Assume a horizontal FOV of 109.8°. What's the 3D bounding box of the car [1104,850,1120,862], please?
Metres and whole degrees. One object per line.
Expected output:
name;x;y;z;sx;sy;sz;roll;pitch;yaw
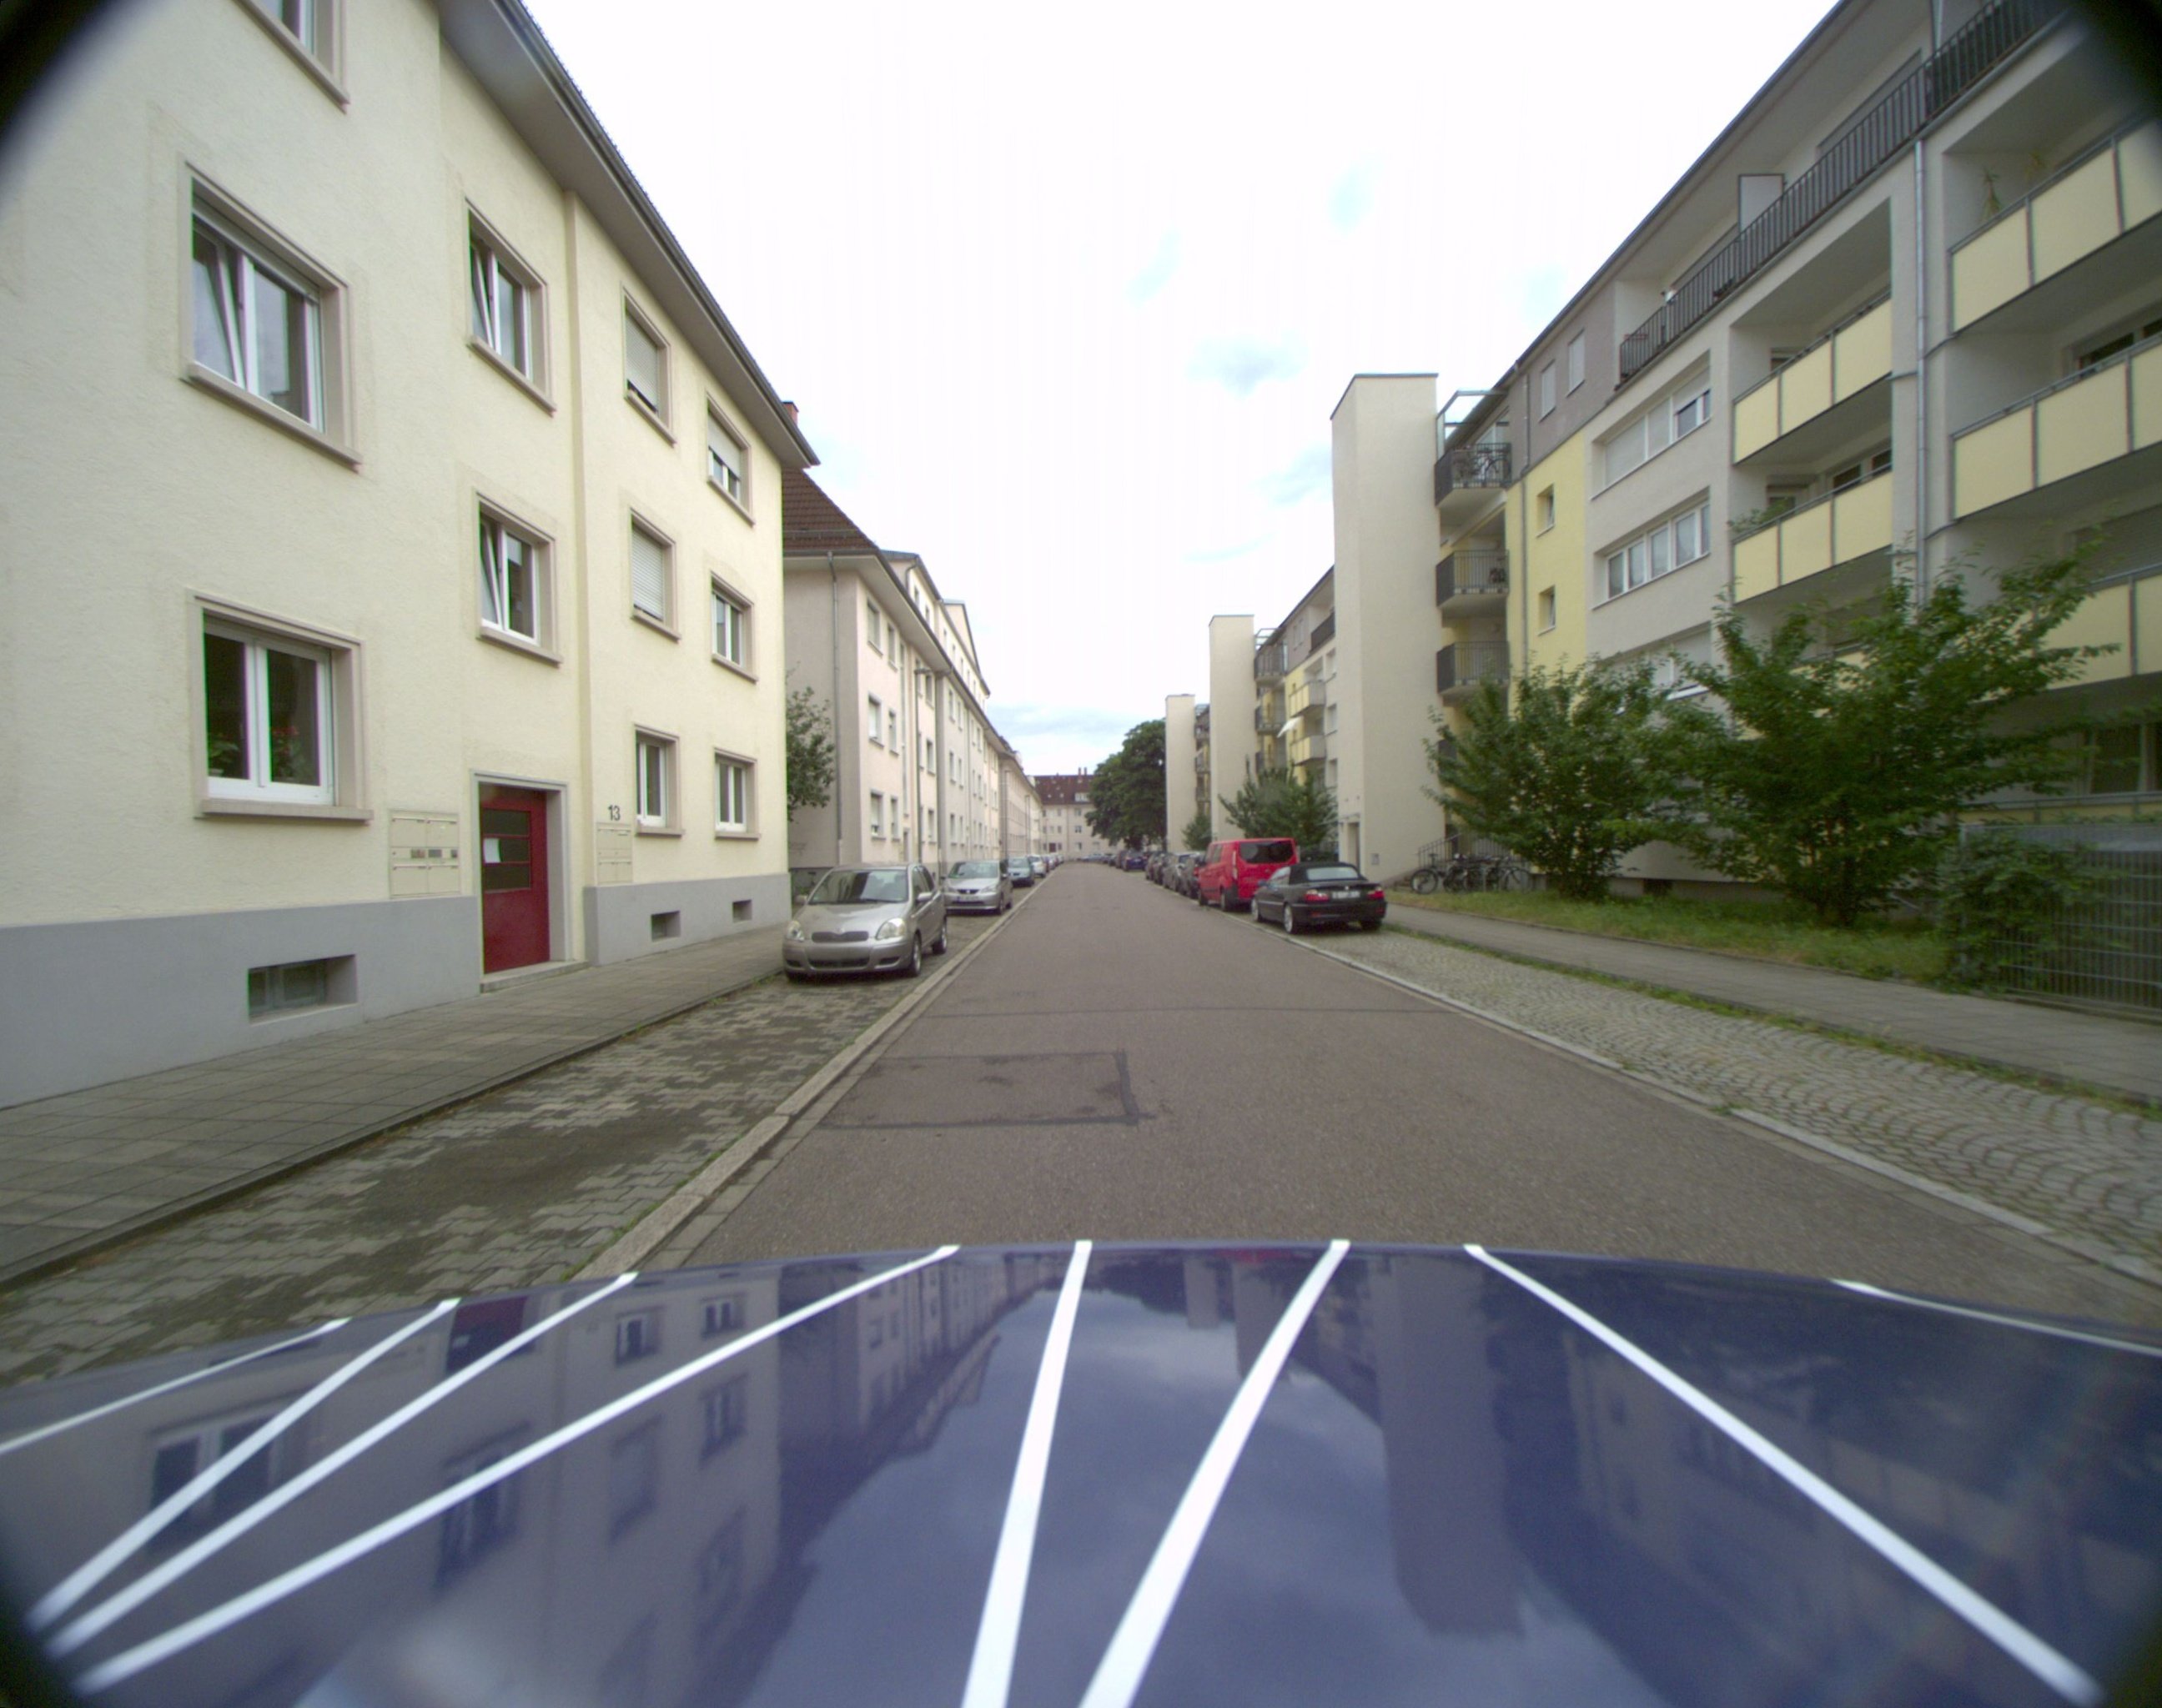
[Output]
car;4.444;0.249;109.284;2.000;1.566;4.209;-3;0;0

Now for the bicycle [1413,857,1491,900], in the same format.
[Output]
bicycle;10.289;0.667;21.106;1.839;1.112;0.604;-2;1;-2

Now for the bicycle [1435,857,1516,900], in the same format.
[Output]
bicycle;10.592;0.646;20.435;1.839;1.112;0.570;-1;1;1

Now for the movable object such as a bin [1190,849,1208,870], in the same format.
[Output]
movable object such as a bin;8.112;0.380;52.424;1.004;1.438;1.314;-2;1;0

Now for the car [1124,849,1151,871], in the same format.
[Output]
car;4.514;0.447;61.674;1.804;1.617;4.471;-2;0;0

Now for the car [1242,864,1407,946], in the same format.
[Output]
car;4.816;0.937;15.749;1.875;1.316;4.360;-2;1;-1

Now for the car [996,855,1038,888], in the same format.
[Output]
car;-3.060;0.791;36.945;1.729;1.460;4.263;-1;0;-1

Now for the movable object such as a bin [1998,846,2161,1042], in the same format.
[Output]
movable object such as a bin;8.355;0.659;5.945;0.805;1.421;1.288;-2;1;2

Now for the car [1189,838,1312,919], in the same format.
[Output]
car;4.684;0.606;21.828;2.157;1.942;4.920;-3;1;-2

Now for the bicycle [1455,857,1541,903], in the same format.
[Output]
bicycle;10.652;0.664;19.459;1.838;1.112;0.570;-1;1;6

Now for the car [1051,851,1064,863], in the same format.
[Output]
car;-3.268;0.399;107.021;1.764;1.595;3.955;0;0;0

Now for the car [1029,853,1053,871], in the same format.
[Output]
car;-3.188;0.653;61.597;1.758;1.401;3.936;0;0;0

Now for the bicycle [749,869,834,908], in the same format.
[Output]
bicycle;-8.486;0.997;22.316;2.214;1.070;0.648;-1;1;-1

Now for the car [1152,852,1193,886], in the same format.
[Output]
car;4.557;0.688;38.205;1.657;1.521;3.895;-3;1;2

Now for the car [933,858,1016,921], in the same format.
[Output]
car;-2.843;0.904;21.110;1.729;1.483;4.060;-1;0;-1

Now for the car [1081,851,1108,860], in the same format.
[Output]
car;2.350;0.212;131.929;4.546;1.551;1.565;0;1;4

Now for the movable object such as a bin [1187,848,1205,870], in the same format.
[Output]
movable object such as a bin;8.131;0.339;53.764;1.004;1.492;1.314;-2;1;0

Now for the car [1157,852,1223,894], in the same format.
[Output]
car;4.549;0.732;32.404;1.839;1.561;4.860;-3;0;-3

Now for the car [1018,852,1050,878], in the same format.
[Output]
car;-3.033;0.680;49.679;1.788;1.590;3.804;0;0;1

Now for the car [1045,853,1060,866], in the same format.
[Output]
car;-3.377;0.653;90.660;1.758;1.477;3.773;0;0;0

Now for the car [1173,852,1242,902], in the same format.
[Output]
car;4.469;0.751;27.382;1.725;1.561;4.053;-3;1;0

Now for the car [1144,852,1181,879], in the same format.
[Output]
car;4.662;0.631;43.813;1.647;1.430;3.856;-3;0;0

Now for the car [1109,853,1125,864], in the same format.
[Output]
car;4.467;0.537;94.777;1.765;1.257;4.209;-3;0;0

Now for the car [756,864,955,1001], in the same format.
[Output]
car;-2.985;0.953;10.969;1.729;1.508;4.059;-1;0;-2

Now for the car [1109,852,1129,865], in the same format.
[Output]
car;4.431;0.477;89.285;1.919;1.431;4.433;-3;0;-2

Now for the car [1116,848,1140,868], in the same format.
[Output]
car;4.524;0.367;73.847;1.891;1.844;4.784;-1;0;-1

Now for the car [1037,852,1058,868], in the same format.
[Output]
car;-3.156;0.569;71.572;1.792;1.455;4.039;0;0;0
